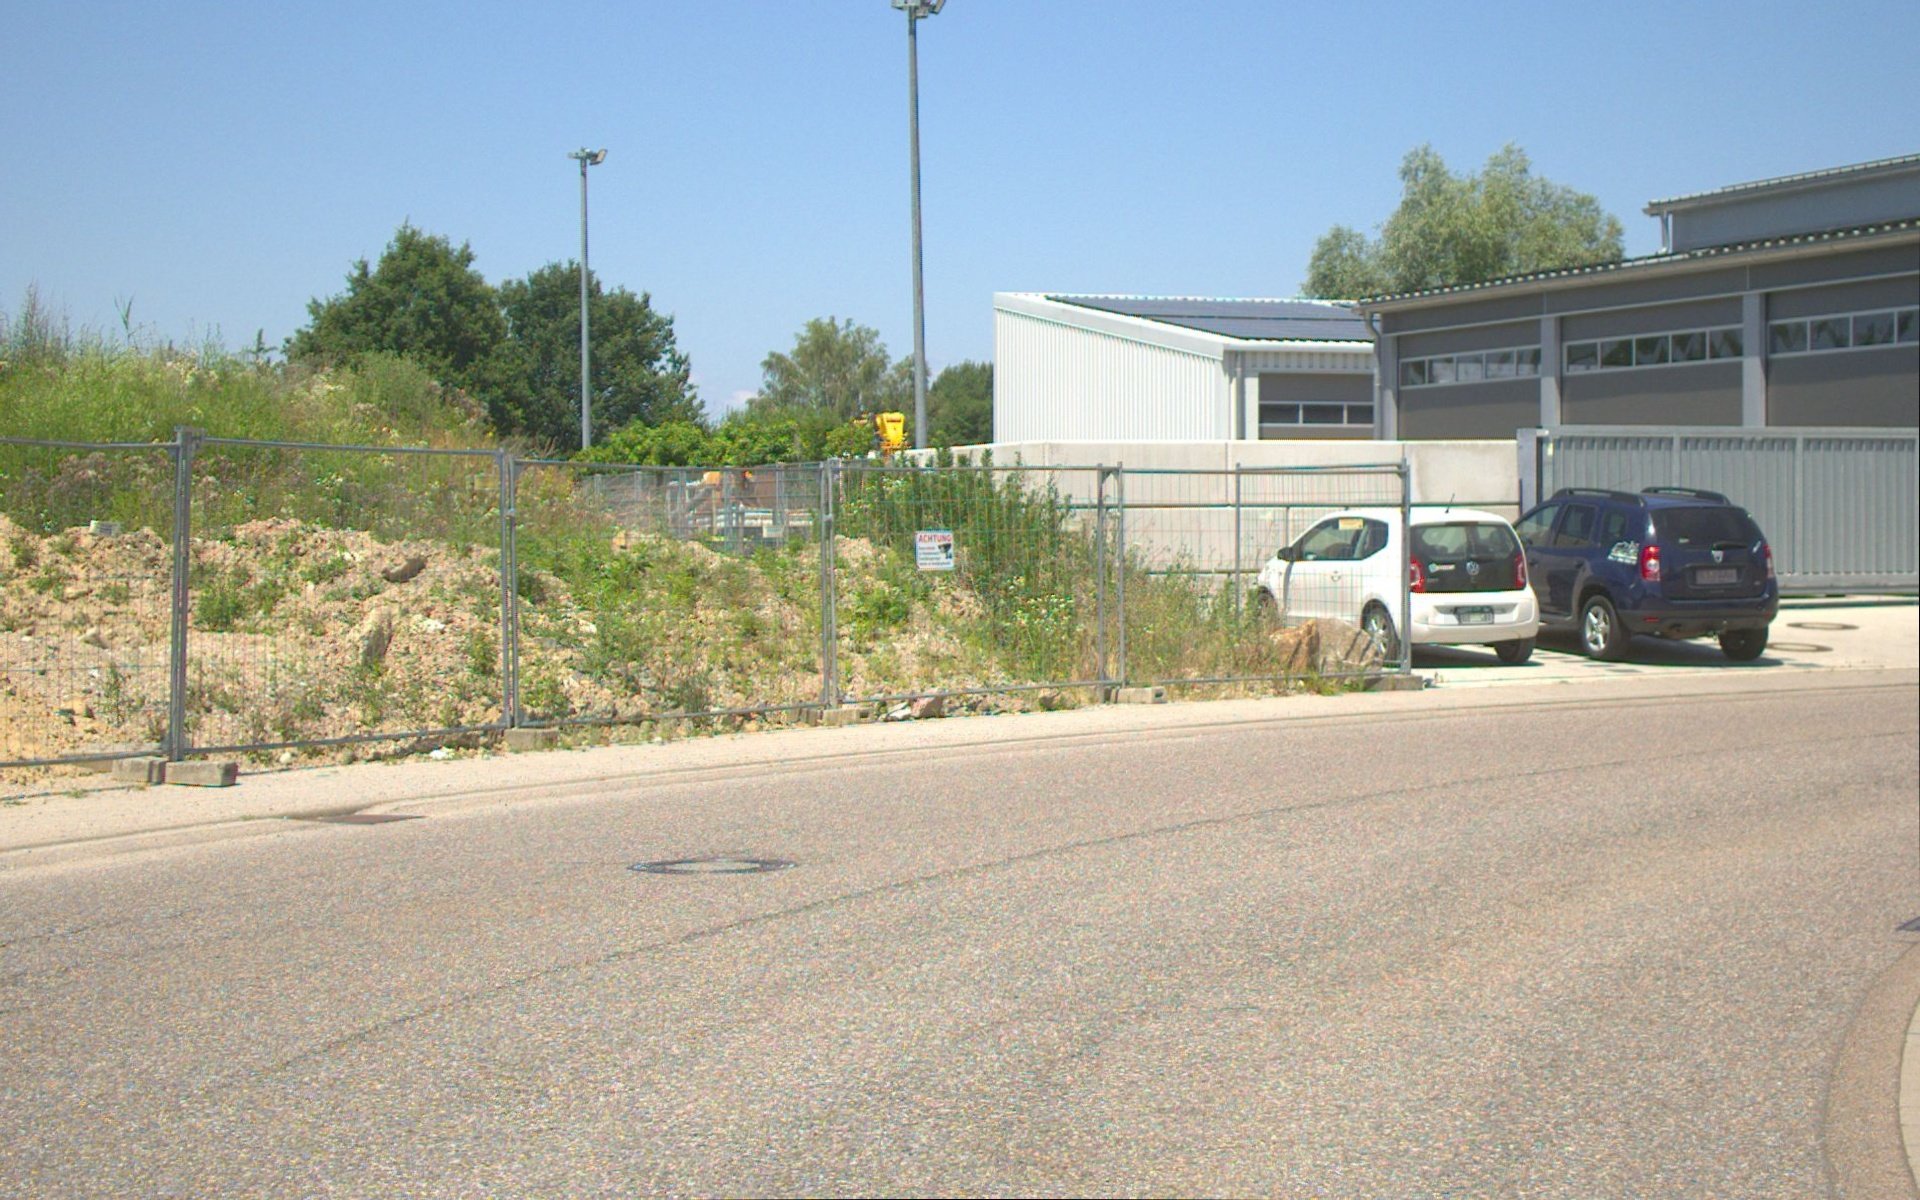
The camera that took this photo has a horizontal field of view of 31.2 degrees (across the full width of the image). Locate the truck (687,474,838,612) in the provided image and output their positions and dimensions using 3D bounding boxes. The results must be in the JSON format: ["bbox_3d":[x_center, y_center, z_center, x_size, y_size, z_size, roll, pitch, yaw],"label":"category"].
[{"bbox_3d":[-4.464,-1.259,77.075,1.993,2.974,4.646,-1,1,-21],"label":"truck"}]

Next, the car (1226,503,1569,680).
[{"bbox_3d":[4.275,-0.136,34.180,1.782,1.493,3.704,-1,4,-22],"label":"car"}]

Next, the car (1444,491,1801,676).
[{"bbox_3d":[6.625,-0.221,34.774,1.794,1.603,3.704,-1,4,-22],"label":"car"}]
